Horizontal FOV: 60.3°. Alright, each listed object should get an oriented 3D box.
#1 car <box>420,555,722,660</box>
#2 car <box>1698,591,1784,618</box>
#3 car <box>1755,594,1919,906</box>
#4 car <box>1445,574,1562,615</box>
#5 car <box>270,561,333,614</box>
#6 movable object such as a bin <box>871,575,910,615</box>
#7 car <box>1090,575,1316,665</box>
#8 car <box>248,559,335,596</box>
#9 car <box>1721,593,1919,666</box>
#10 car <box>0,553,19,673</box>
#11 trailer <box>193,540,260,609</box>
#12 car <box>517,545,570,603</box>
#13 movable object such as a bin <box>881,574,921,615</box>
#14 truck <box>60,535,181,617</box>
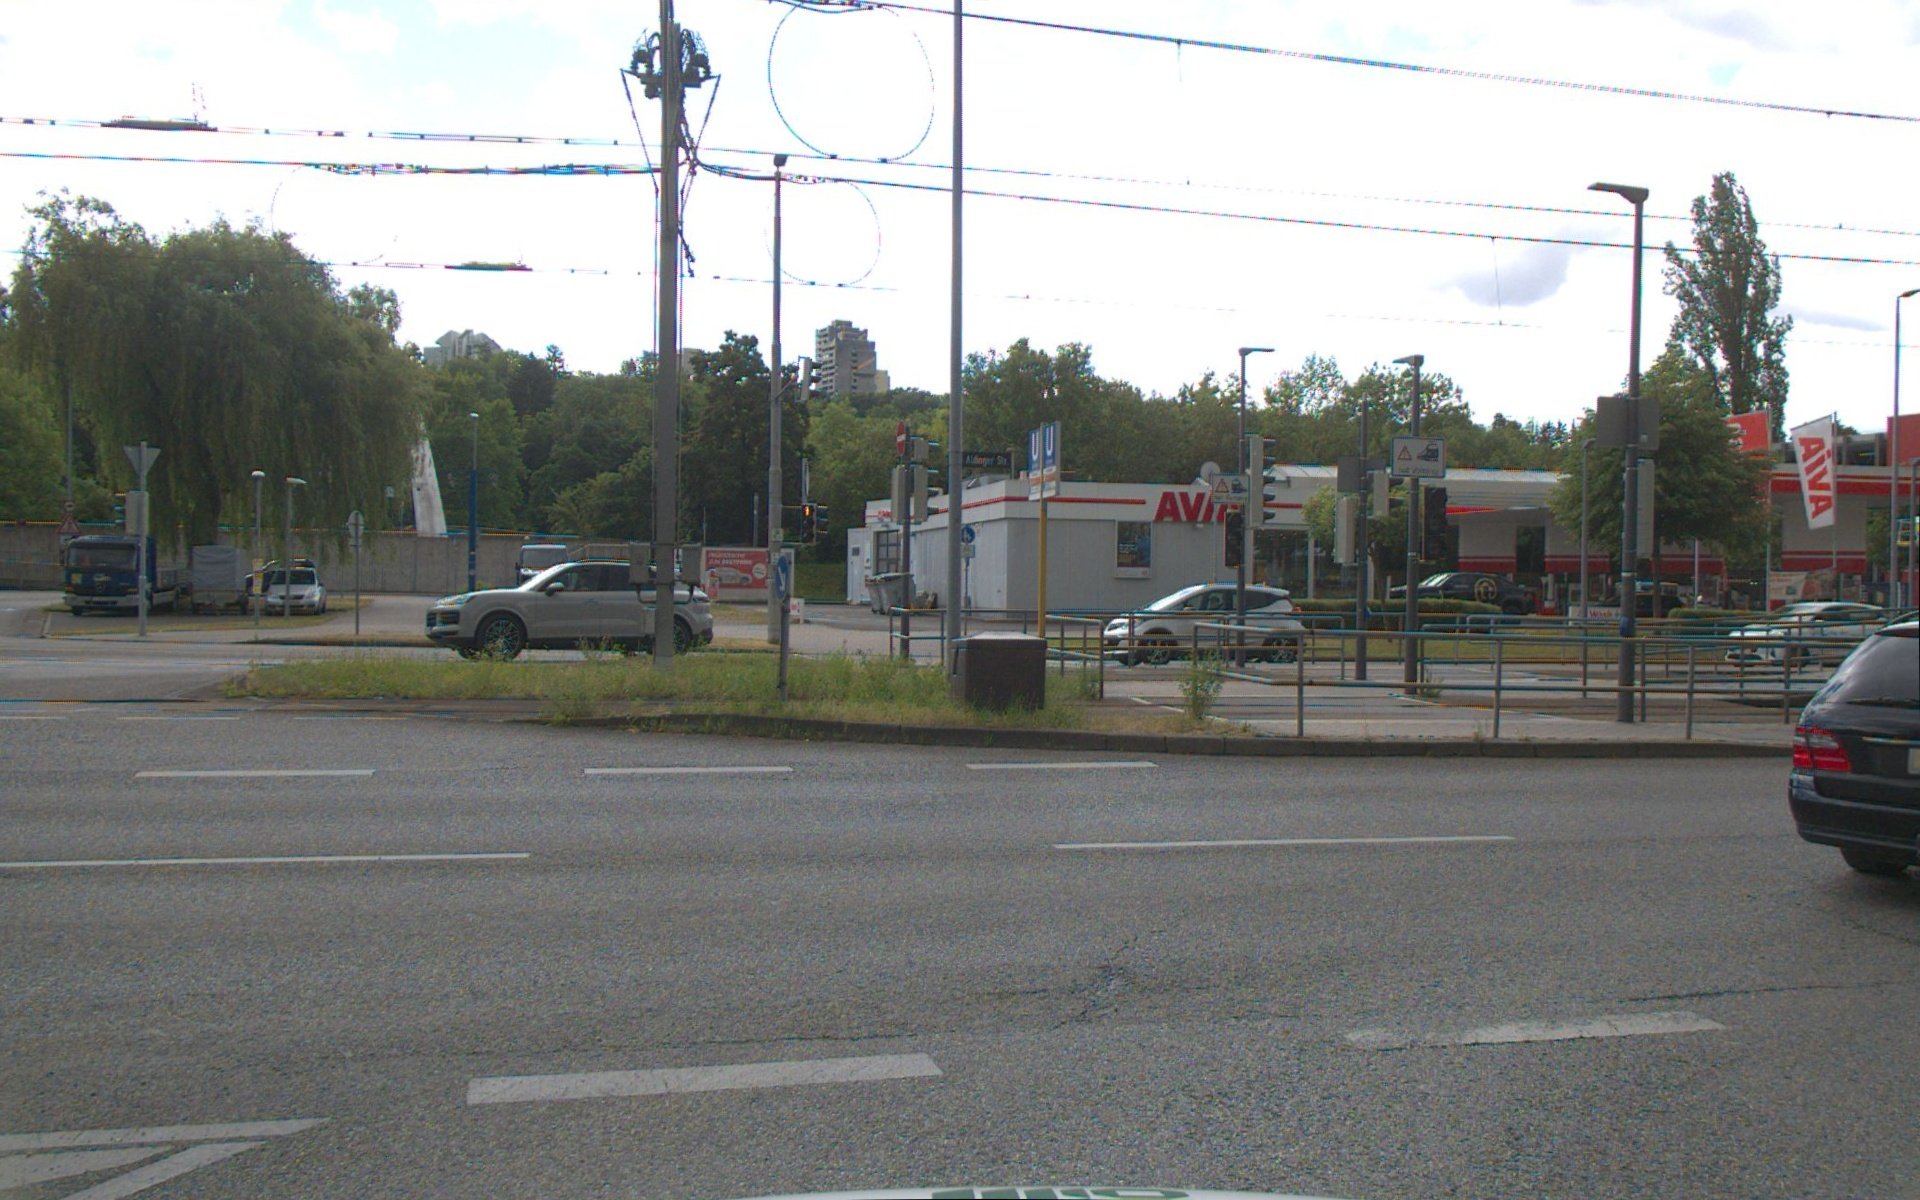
[{"bbox_3d":[-6.637,0.135,28.344,4.783,1.671,1.662,1,0,-28],"label":"car"},{"bbox_3d":[42.176,0.243,89.334,3.983,1.389,1.906,1,-1,-18],"label":"car"},{"bbox_3d":[6.440,0.741,9.240,4.367,1.504,1.815,0,0,-37],"label":"car"},{"bbox_3d":[18.837,-0.194,57.380,3.563,1.373,1.612,1,1,-15],"label":"car"},{"bbox_3d":[-22.820,-0.443,57.450,1.722,1.773,3.838,1,0,-18],"label":"car"},{"bbox_3d":[-2.689,-0.174,64.025,1.343,1.510,1.102,1,-1,-10],"label":"movable object such as a bin"},{"bbox_3d":[4.761,0.390,32.491,4.043,1.670,1.743,1,0,-16],"label":"car"},{"bbox_3d":[-30.575,-0.995,75.693,3.584,1.582,1.713,1,-1,-26],"label":"car"},{"bbox_3d":[18.677,0.635,35.899,3.754,1.479,1.626,1,0,-16],"label":"car"},{"bbox_3d":[-13.646,0.142,19.839,1.641,1.513,3.780,1,0,31],"label":"car"},{"bbox_3d":[-25.592,-0.841,57.826,1.530,2.297,4.372,1,-1,-16],"label":"trailer"},{"bbox_3d":[-16.150,-0.966,64.040,1.811,2.088,4.362,1,-1,-16],"label":"car"},{"bbox_3d":[-2.224,-0.197,62.211,1.343,1.521,1.102,1,-1,-10],"label":"movable object such as a bin"},{"bbox_3d":[-27.677,-0.794,54.765,2.339,2.538,5.803,1,0,-15],"label":"truck"}]
